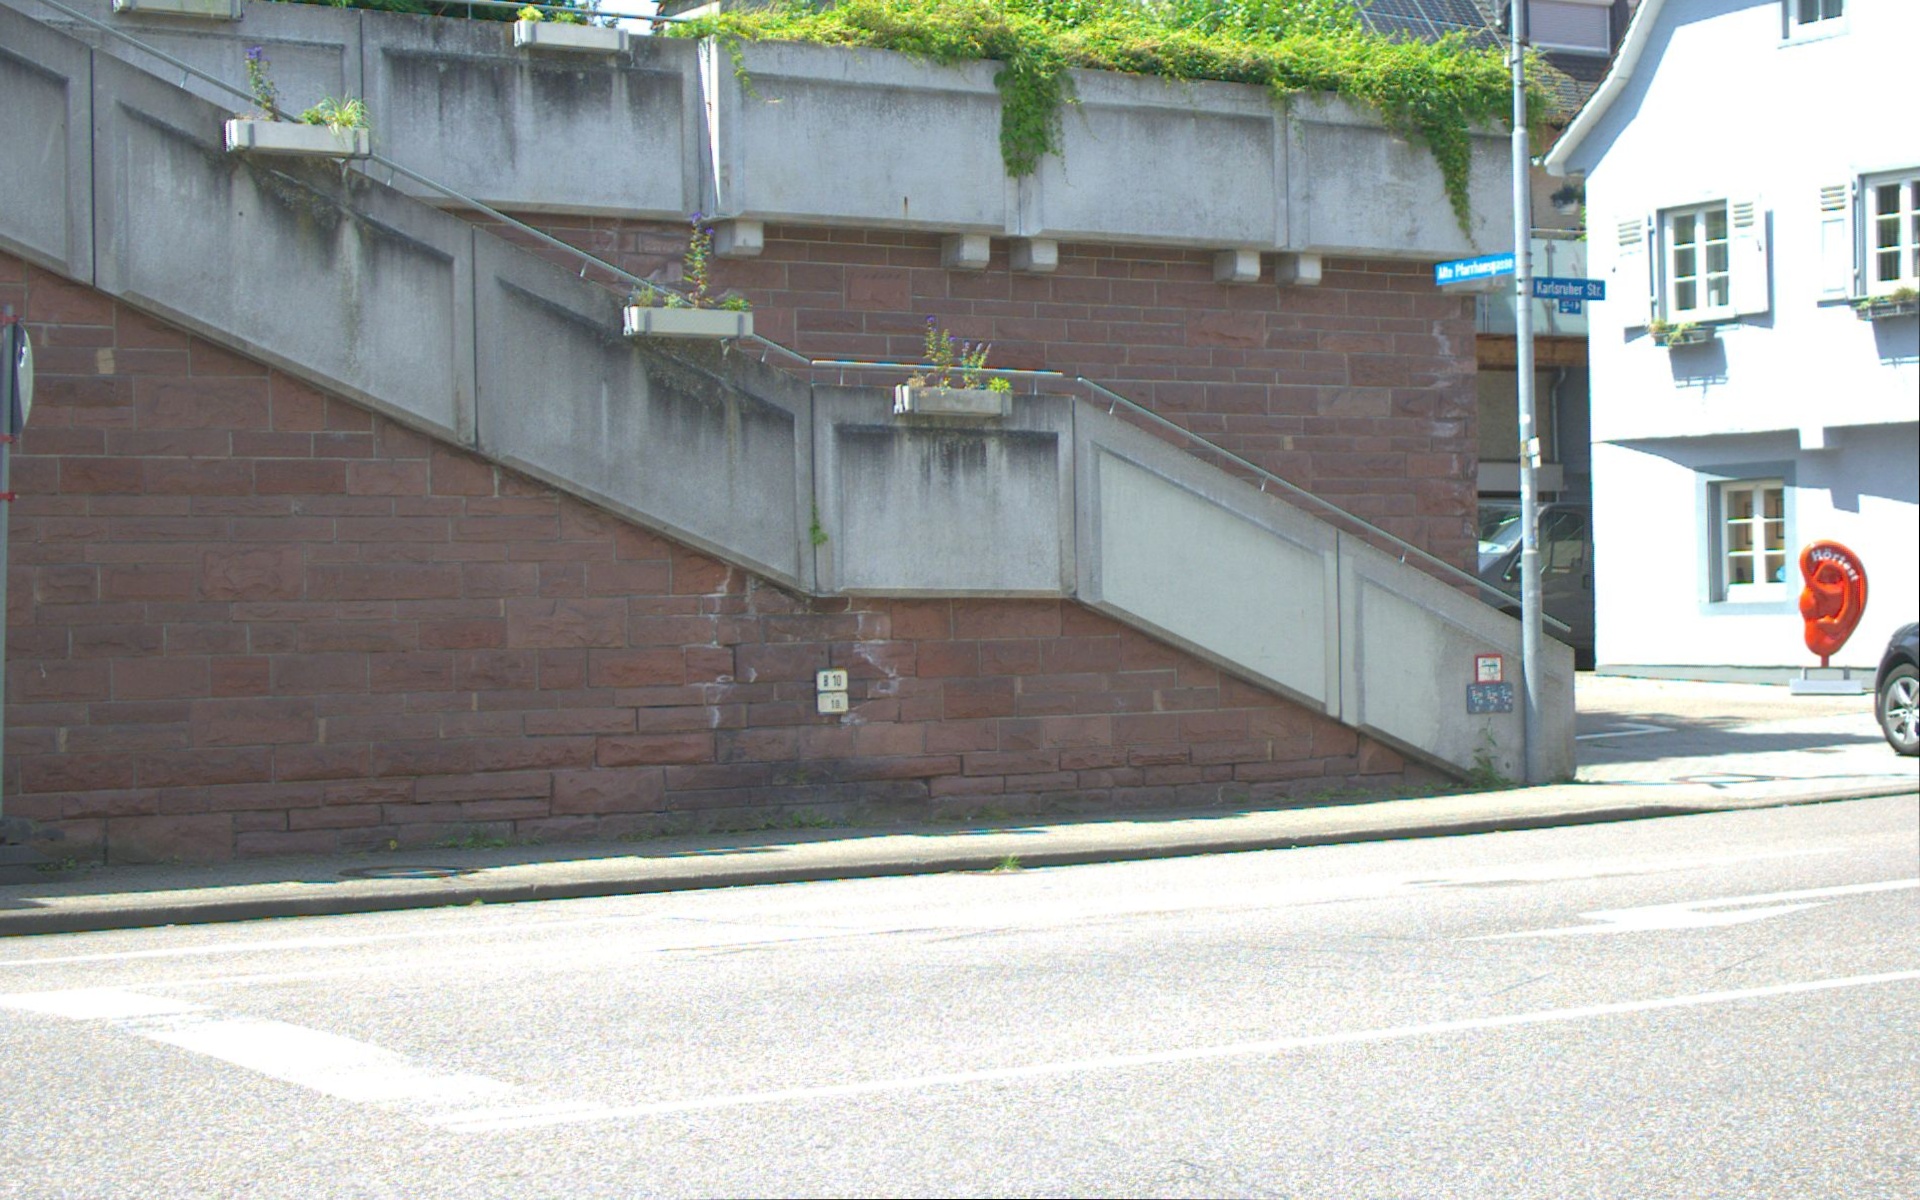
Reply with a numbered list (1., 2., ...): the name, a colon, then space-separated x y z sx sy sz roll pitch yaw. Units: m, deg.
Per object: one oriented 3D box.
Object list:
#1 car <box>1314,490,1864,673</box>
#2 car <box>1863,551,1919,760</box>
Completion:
1. car: 7.418 -0.221 40.526 5.975 2.007 2.525 -1 -1 -25
2. car: 8.563 0.461 25.241 1.948 1.577 4.327 0 2 -13
